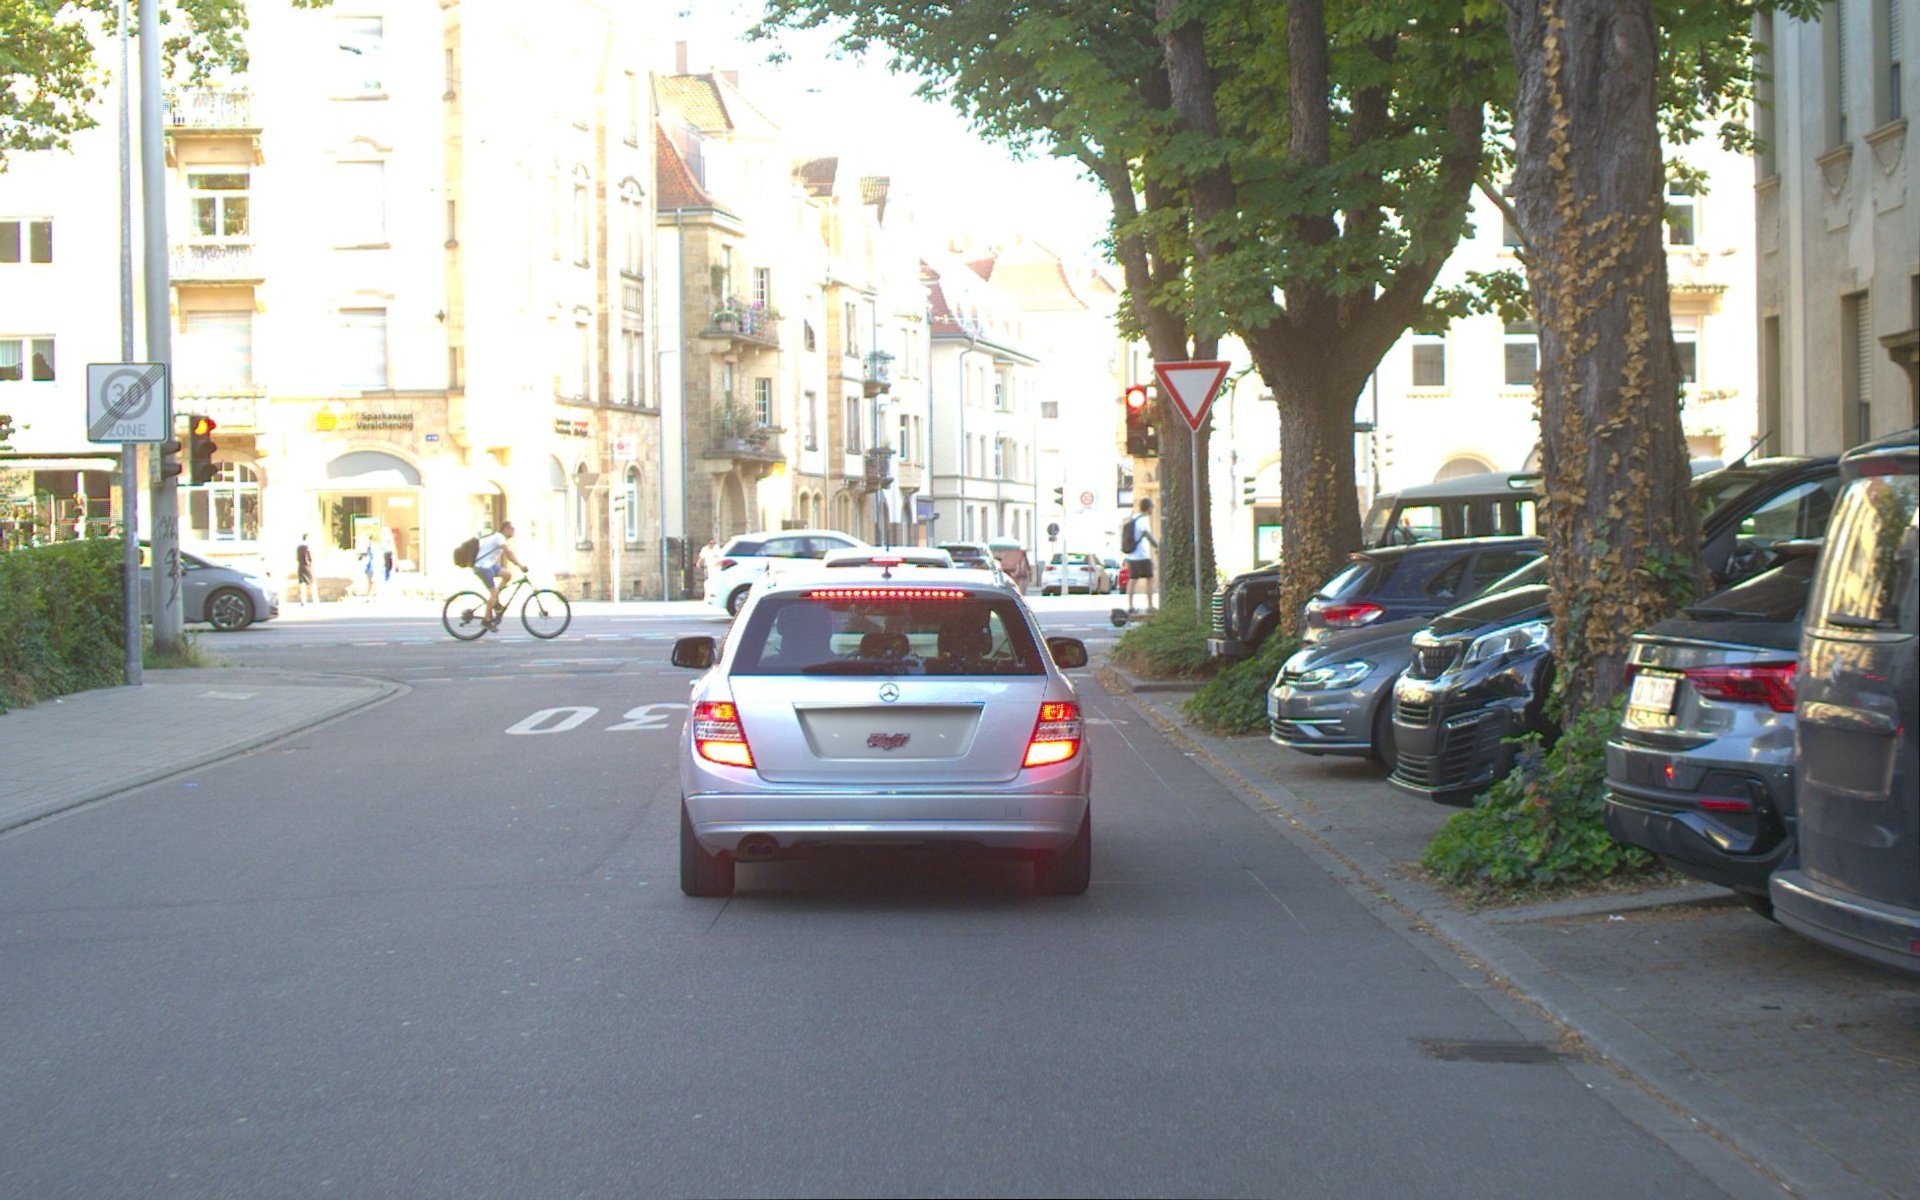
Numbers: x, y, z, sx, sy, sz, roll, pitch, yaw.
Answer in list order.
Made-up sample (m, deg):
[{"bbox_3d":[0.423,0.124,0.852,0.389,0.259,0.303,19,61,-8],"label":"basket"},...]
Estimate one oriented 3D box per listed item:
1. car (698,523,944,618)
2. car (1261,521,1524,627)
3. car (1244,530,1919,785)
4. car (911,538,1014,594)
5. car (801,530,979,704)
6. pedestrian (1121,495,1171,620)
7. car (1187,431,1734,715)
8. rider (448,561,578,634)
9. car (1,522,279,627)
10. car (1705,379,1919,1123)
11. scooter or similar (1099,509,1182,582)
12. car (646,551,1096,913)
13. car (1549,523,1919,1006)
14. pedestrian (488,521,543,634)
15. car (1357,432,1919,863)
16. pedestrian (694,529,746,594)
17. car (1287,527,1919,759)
[{"bbox_3d":[-2.316,-0.501,56.674,3.887,1.510,1.708,-1,1,-8],"label":"car"},{"bbox_3d":[6.946,-0.436,55.409,3.887,1.637,1.754,0,1,-6],"label":"car"},{"bbox_3d":[4.090,0.330,21.958,4.287,1.412,1.877,-2,1,-2],"label":"car"},{"bbox_3d":[0.099,-1.004,100.298,1.995,1.579,3.997,0,1,15],"label":"car"},{"bbox_3d":[-0.633,0.118,33.327,1.623,1.564,3.680,0,1,0],"label":"car"},{"bbox_3d":[2.808,-0.647,51.961,0.642,1.859,0.410,-2,1,-4],"label":"pedestrian"},{"bbox_3d":[4.271,-0.253,29.818,4.388,2.356,2.000,0,1,-3],"label":"car"},{"bbox_3d":[-6.562,-0.035,50.494,1.873,1.034,0.511,-1,1,-8],"label":"rider"},{"bbox_3d":[-13.118,-0.427,55.192,4.153,1.621,1.794,-1,1,-7],"label":"car"},{"bbox_3d":[4.481,0.298,9.770,4.219,1.890,1.906,-2,1,-2],"label":"car"},{"bbox_3d":[2.727,-0.823,51.951,1.175,1.048,0.409,-2,1,-4],"label":"scooter or similar"},{"bbox_3d":[-0.355,0.508,15.643,1.784,1.432,3.851,0,0,0],"label":"car"},{"bbox_3d":[4.388,0.494,12.012,4.287,1.535,1.877,0,1,-3],"label":"car"},{"bbox_3d":[-6.527,-0.339,50.492,0.769,1.640,0.505,-1,1,-8],"label":"pedestrian"},{"bbox_3d":[4.645,0.183,17.031,5.053,1.982,2.072,0,1,-3],"label":"car"},{"bbox_3d":[-6.496,-1.044,93.045,1.221,1.716,1.503,1,1,3],"label":"pedestrian"},{"bbox_3d":[4.570,0.270,24.219,4.287,1.535,1.899,0,1,-3],"label":"car"}]
